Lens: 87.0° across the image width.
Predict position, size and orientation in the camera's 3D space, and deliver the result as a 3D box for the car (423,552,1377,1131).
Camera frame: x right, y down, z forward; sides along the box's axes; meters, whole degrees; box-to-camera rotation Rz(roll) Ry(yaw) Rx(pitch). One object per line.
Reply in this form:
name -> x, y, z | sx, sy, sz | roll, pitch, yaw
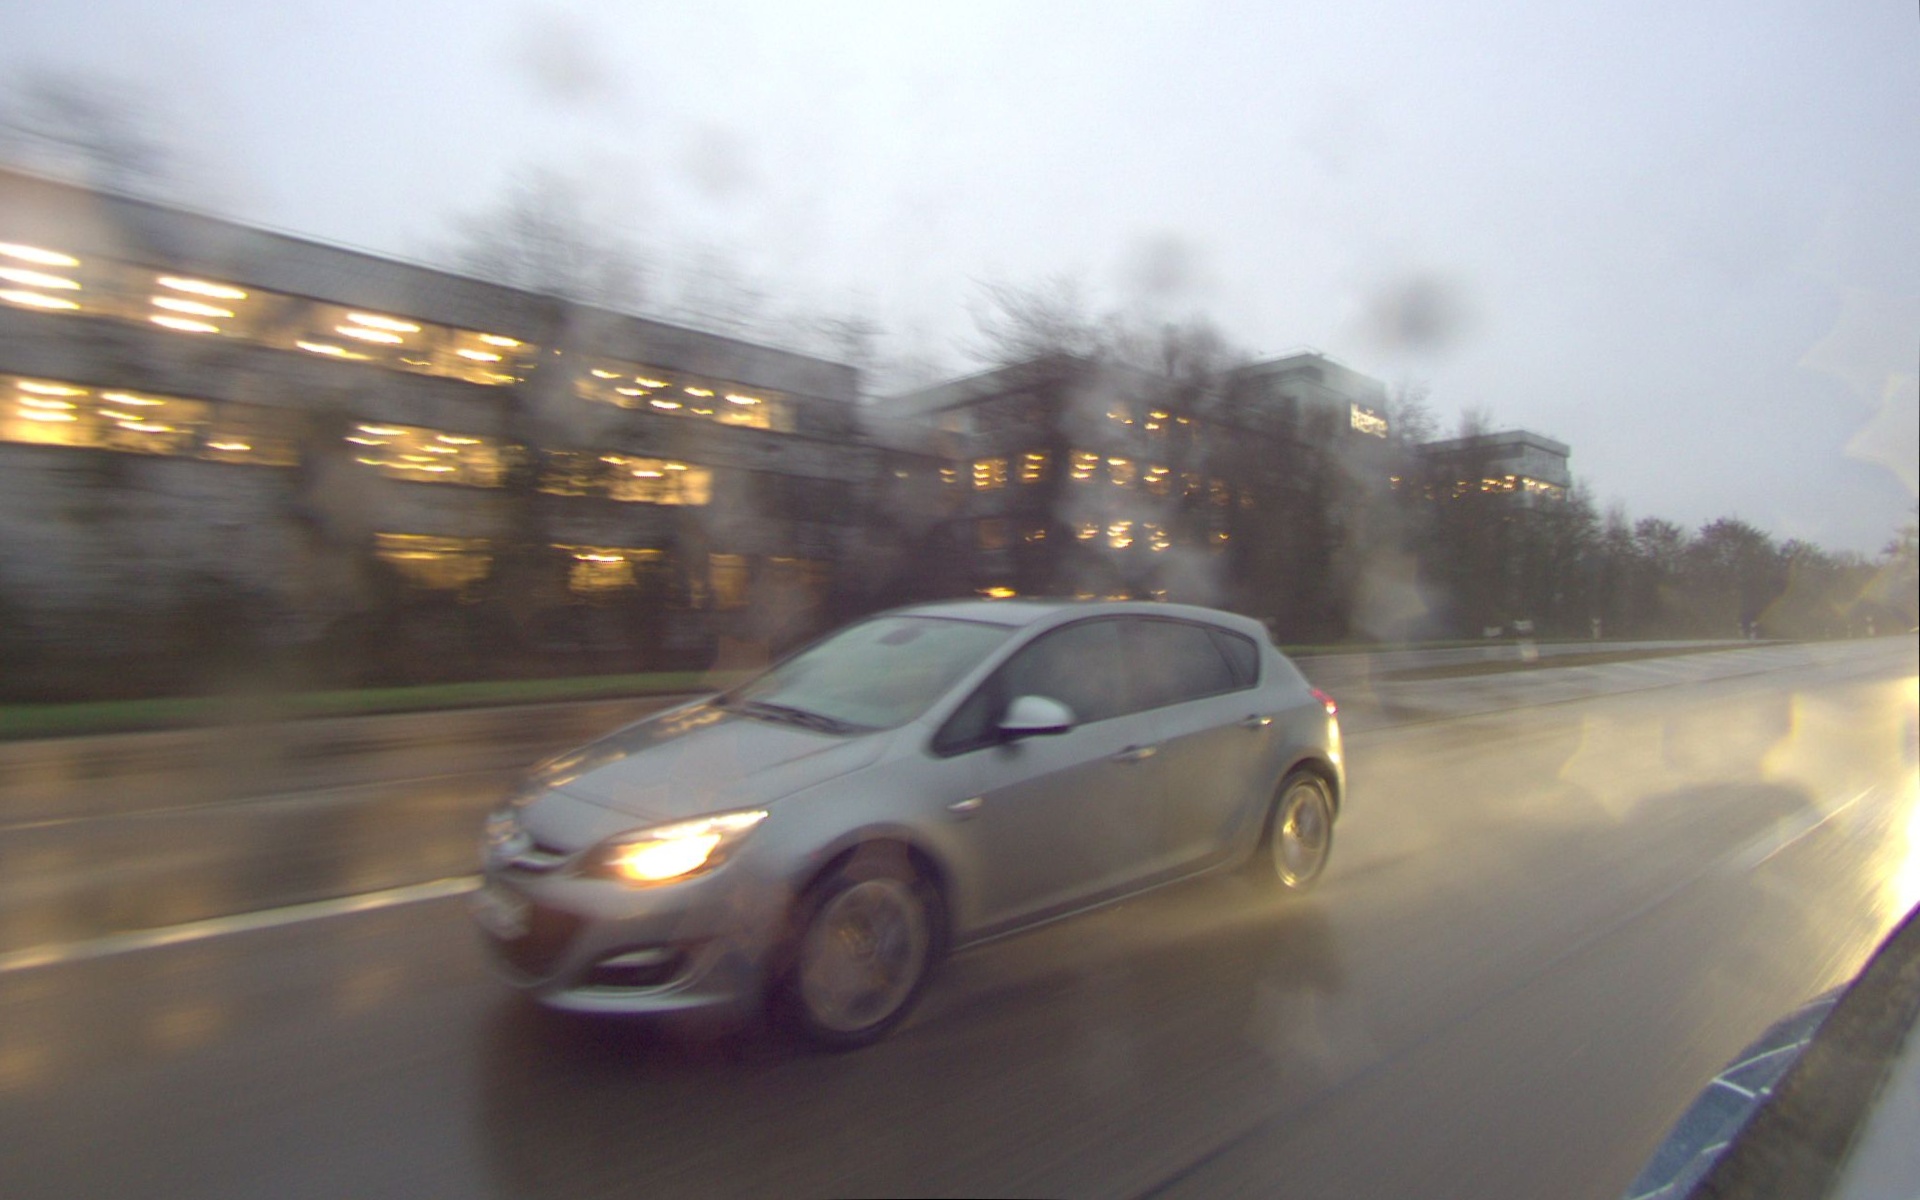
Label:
car -> 0.009, 0.631, 4.737 | 4.186, 1.521, 1.853 | 0, -1, -40
